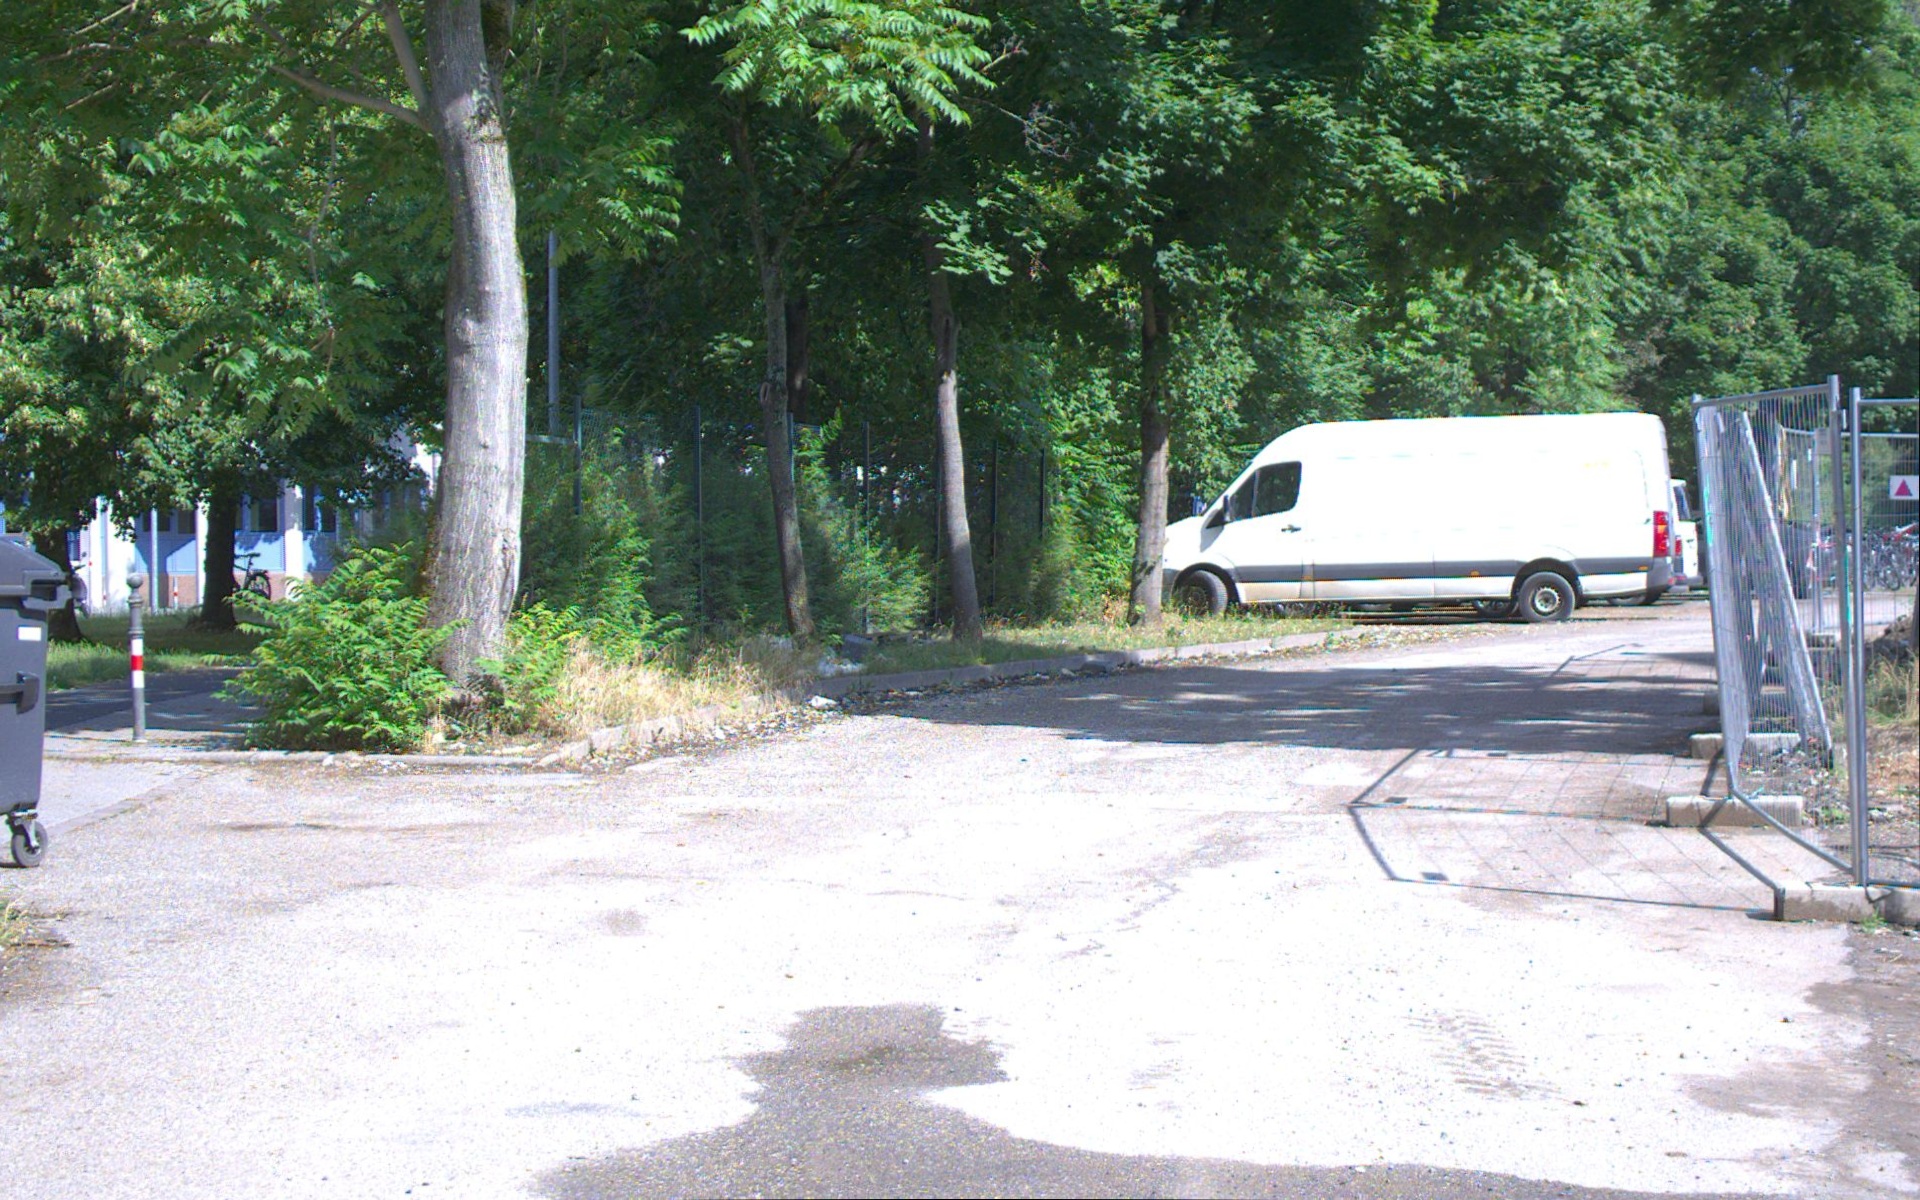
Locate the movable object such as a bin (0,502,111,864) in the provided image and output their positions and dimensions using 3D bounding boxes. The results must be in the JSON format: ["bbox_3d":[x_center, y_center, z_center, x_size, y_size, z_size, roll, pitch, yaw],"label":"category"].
[{"bbox_3d":[-4.553,0.285,14.570,1.246,1.477,1.295,6,1,-43],"label":"movable object such as a bin"}]

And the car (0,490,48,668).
[{"bbox_3d":[-9.057,-0.197,26.460,1.756,1.415,3.911,2,1,26],"label":"car"}]

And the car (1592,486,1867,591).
[{"bbox_3d":[12.477,-1.001,55.732,3.992,1.423,1.842,3,-1,24],"label":"car"}]

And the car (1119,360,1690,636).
[{"bbox_3d":[5.738,-1.310,44.271,6.956,3.037,1.999,4,1,11],"label":"car"}]
